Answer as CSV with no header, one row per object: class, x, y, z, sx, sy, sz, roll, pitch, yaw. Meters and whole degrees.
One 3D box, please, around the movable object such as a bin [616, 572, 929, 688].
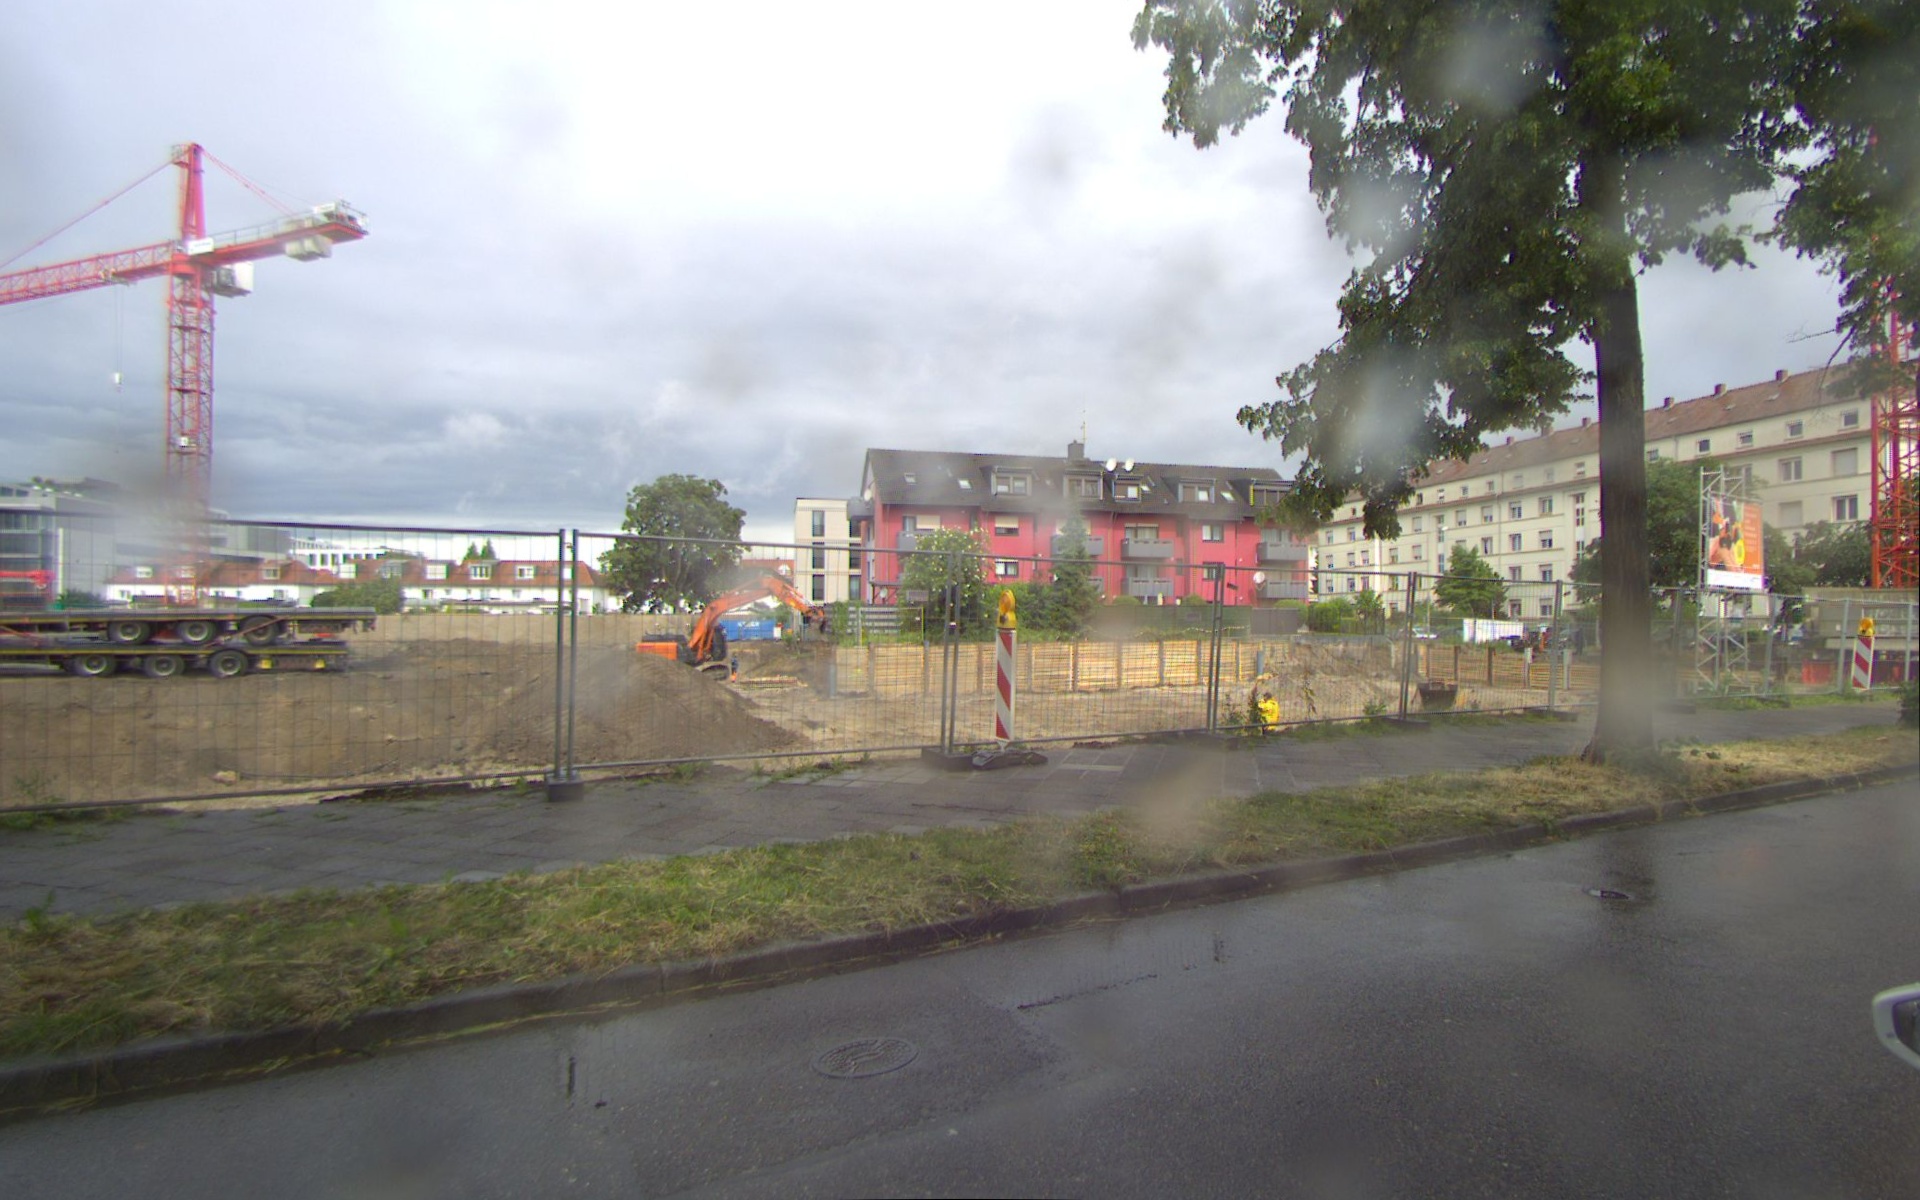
movable object such as a bin,-10.212,1.590,57.041,16.430,6.125,6.885,0,0,-6
